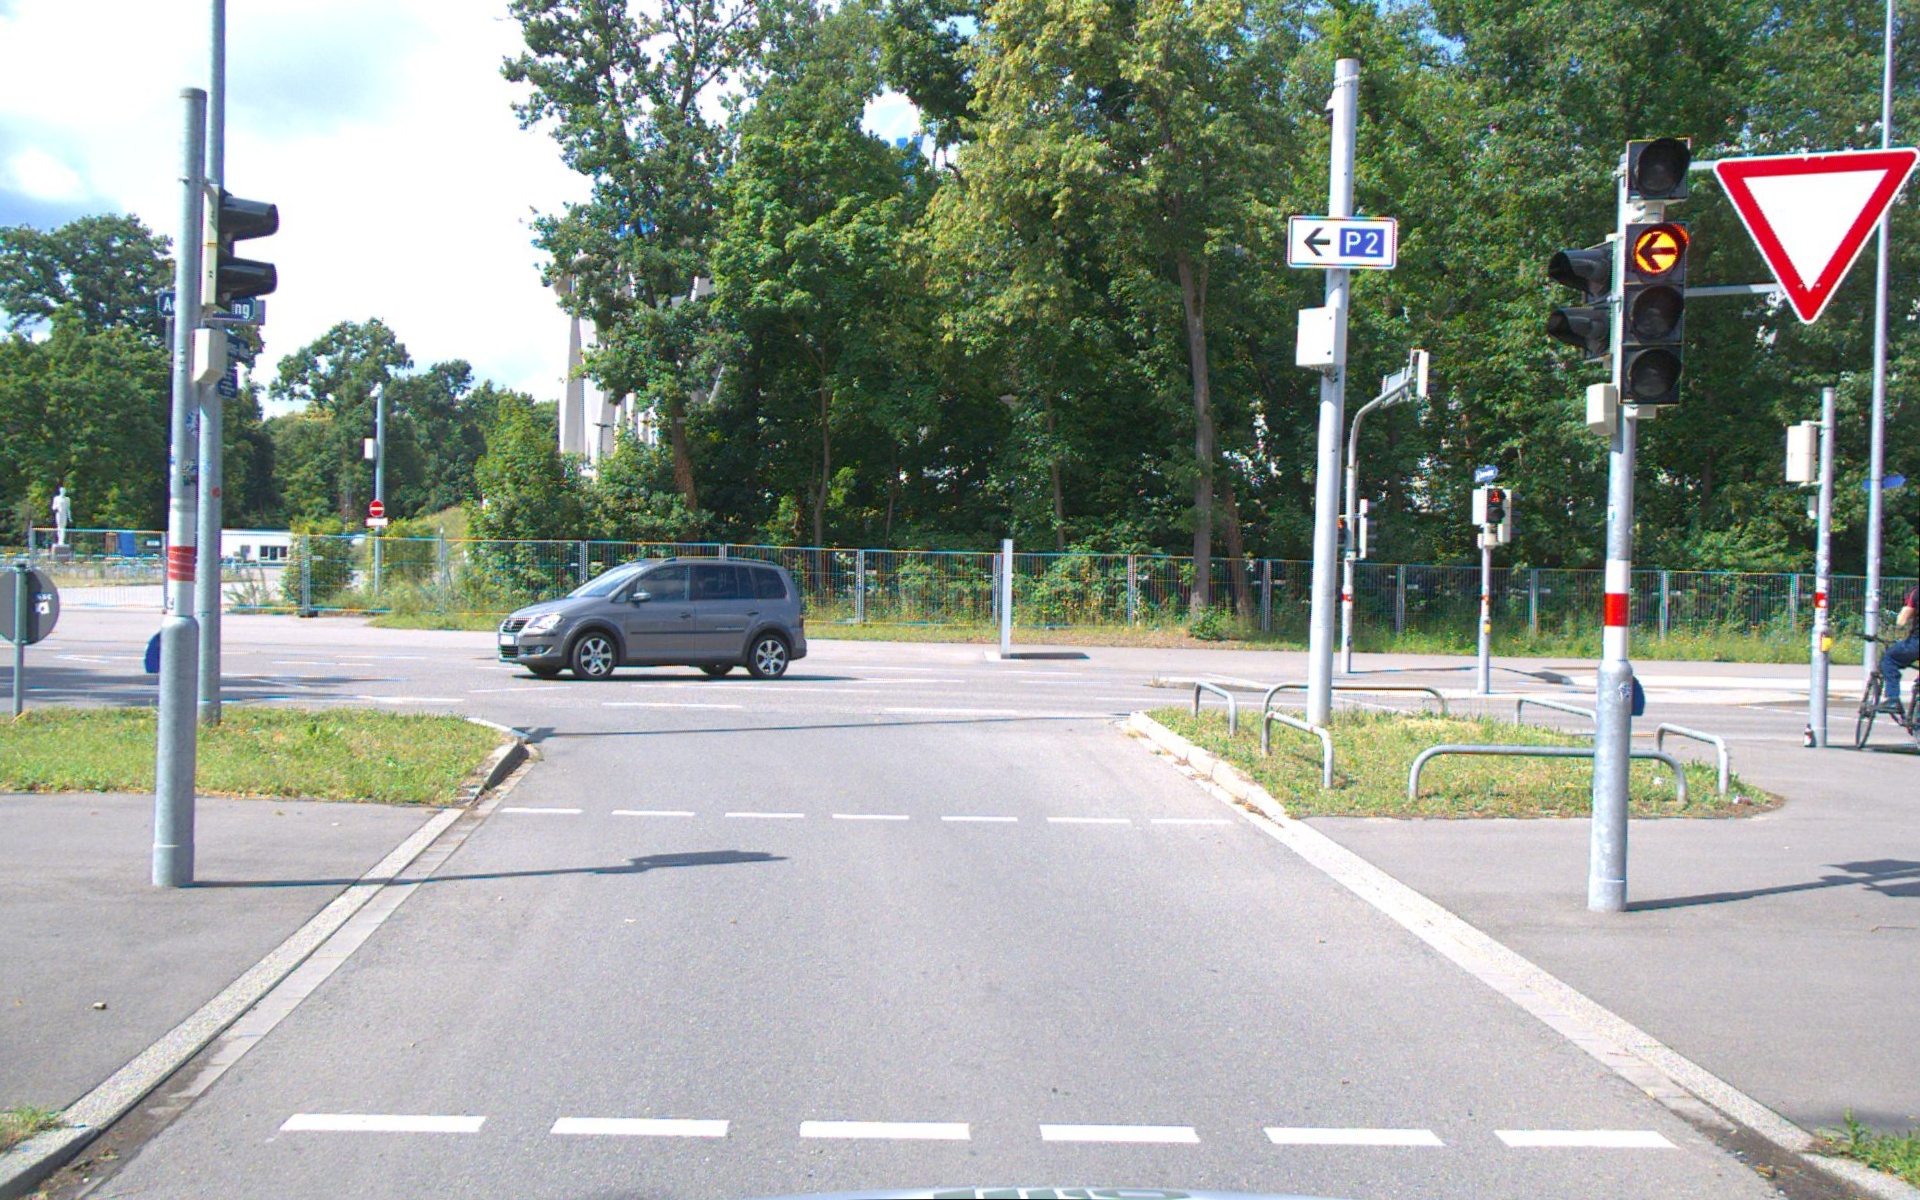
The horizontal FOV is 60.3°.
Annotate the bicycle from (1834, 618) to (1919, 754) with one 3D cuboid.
[{"bbox_3d":[9.237,0.797,15.905,0.861,1.227,1.899,1,0,8],"label":"bicycle"}]

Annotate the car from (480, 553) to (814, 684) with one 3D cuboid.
[{"bbox_3d":[-4.288,0.213,22.968,4.251,1.658,1.744,0,1,-36],"label":"car"}]

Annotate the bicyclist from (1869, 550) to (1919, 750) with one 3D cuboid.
[{"bbox_3d":[9.241,0.467,15.592,0.866,1.829,0.979,1,-1,7],"label":"bicyclist"}]
